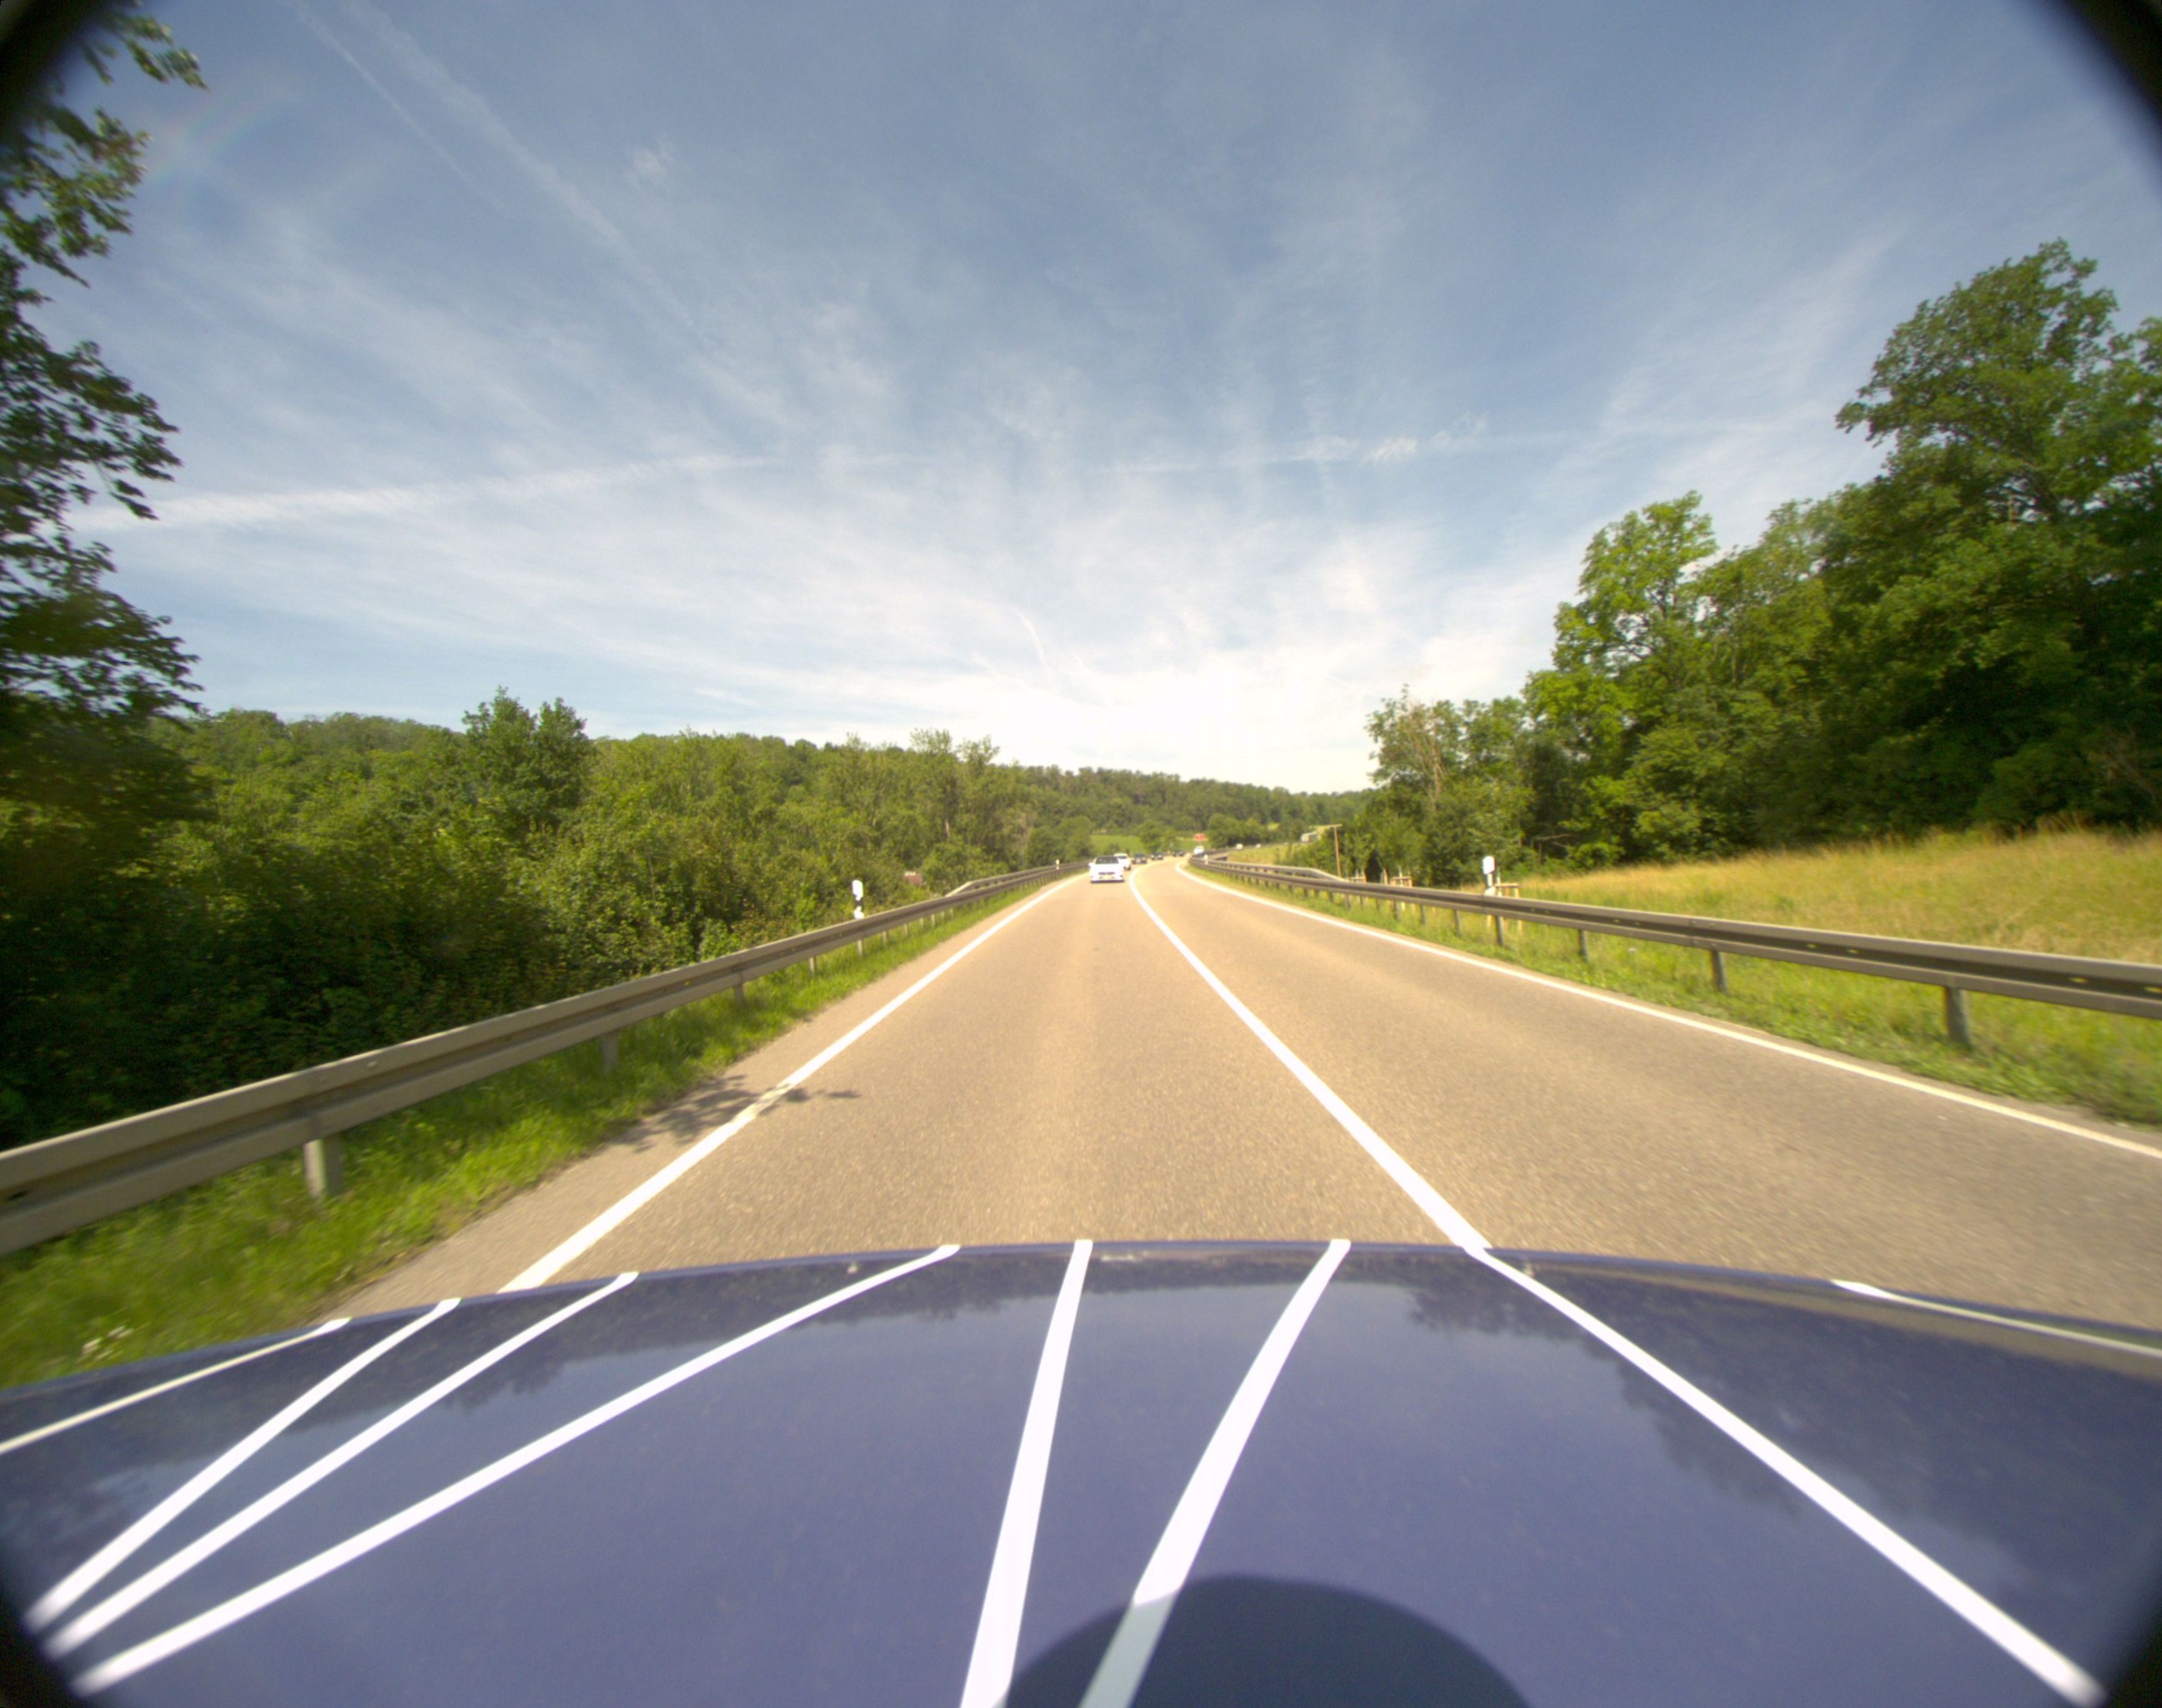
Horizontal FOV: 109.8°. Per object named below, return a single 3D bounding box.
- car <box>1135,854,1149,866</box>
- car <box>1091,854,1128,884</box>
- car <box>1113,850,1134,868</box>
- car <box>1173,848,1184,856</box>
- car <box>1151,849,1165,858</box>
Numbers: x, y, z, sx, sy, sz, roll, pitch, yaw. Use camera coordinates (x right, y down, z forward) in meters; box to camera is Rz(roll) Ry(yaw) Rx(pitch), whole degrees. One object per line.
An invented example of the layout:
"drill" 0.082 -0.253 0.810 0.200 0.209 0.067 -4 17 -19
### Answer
"car" 8.133 0.788 101.135 1.742 1.445 4.037 -2 1 7
"car" 1.654 0.799 42.271 1.742 1.445 4.037 -2 1 6
"car" 3.844 0.430 68.835 1.717 1.523 4.001 -2 1 5
"car" 20.467 -0.432 159.389 1.741 1.445 4.040 -2 1 14
"car" 13.074 -0.049 128.873 1.741 1.445 4.039 -2 1 12
